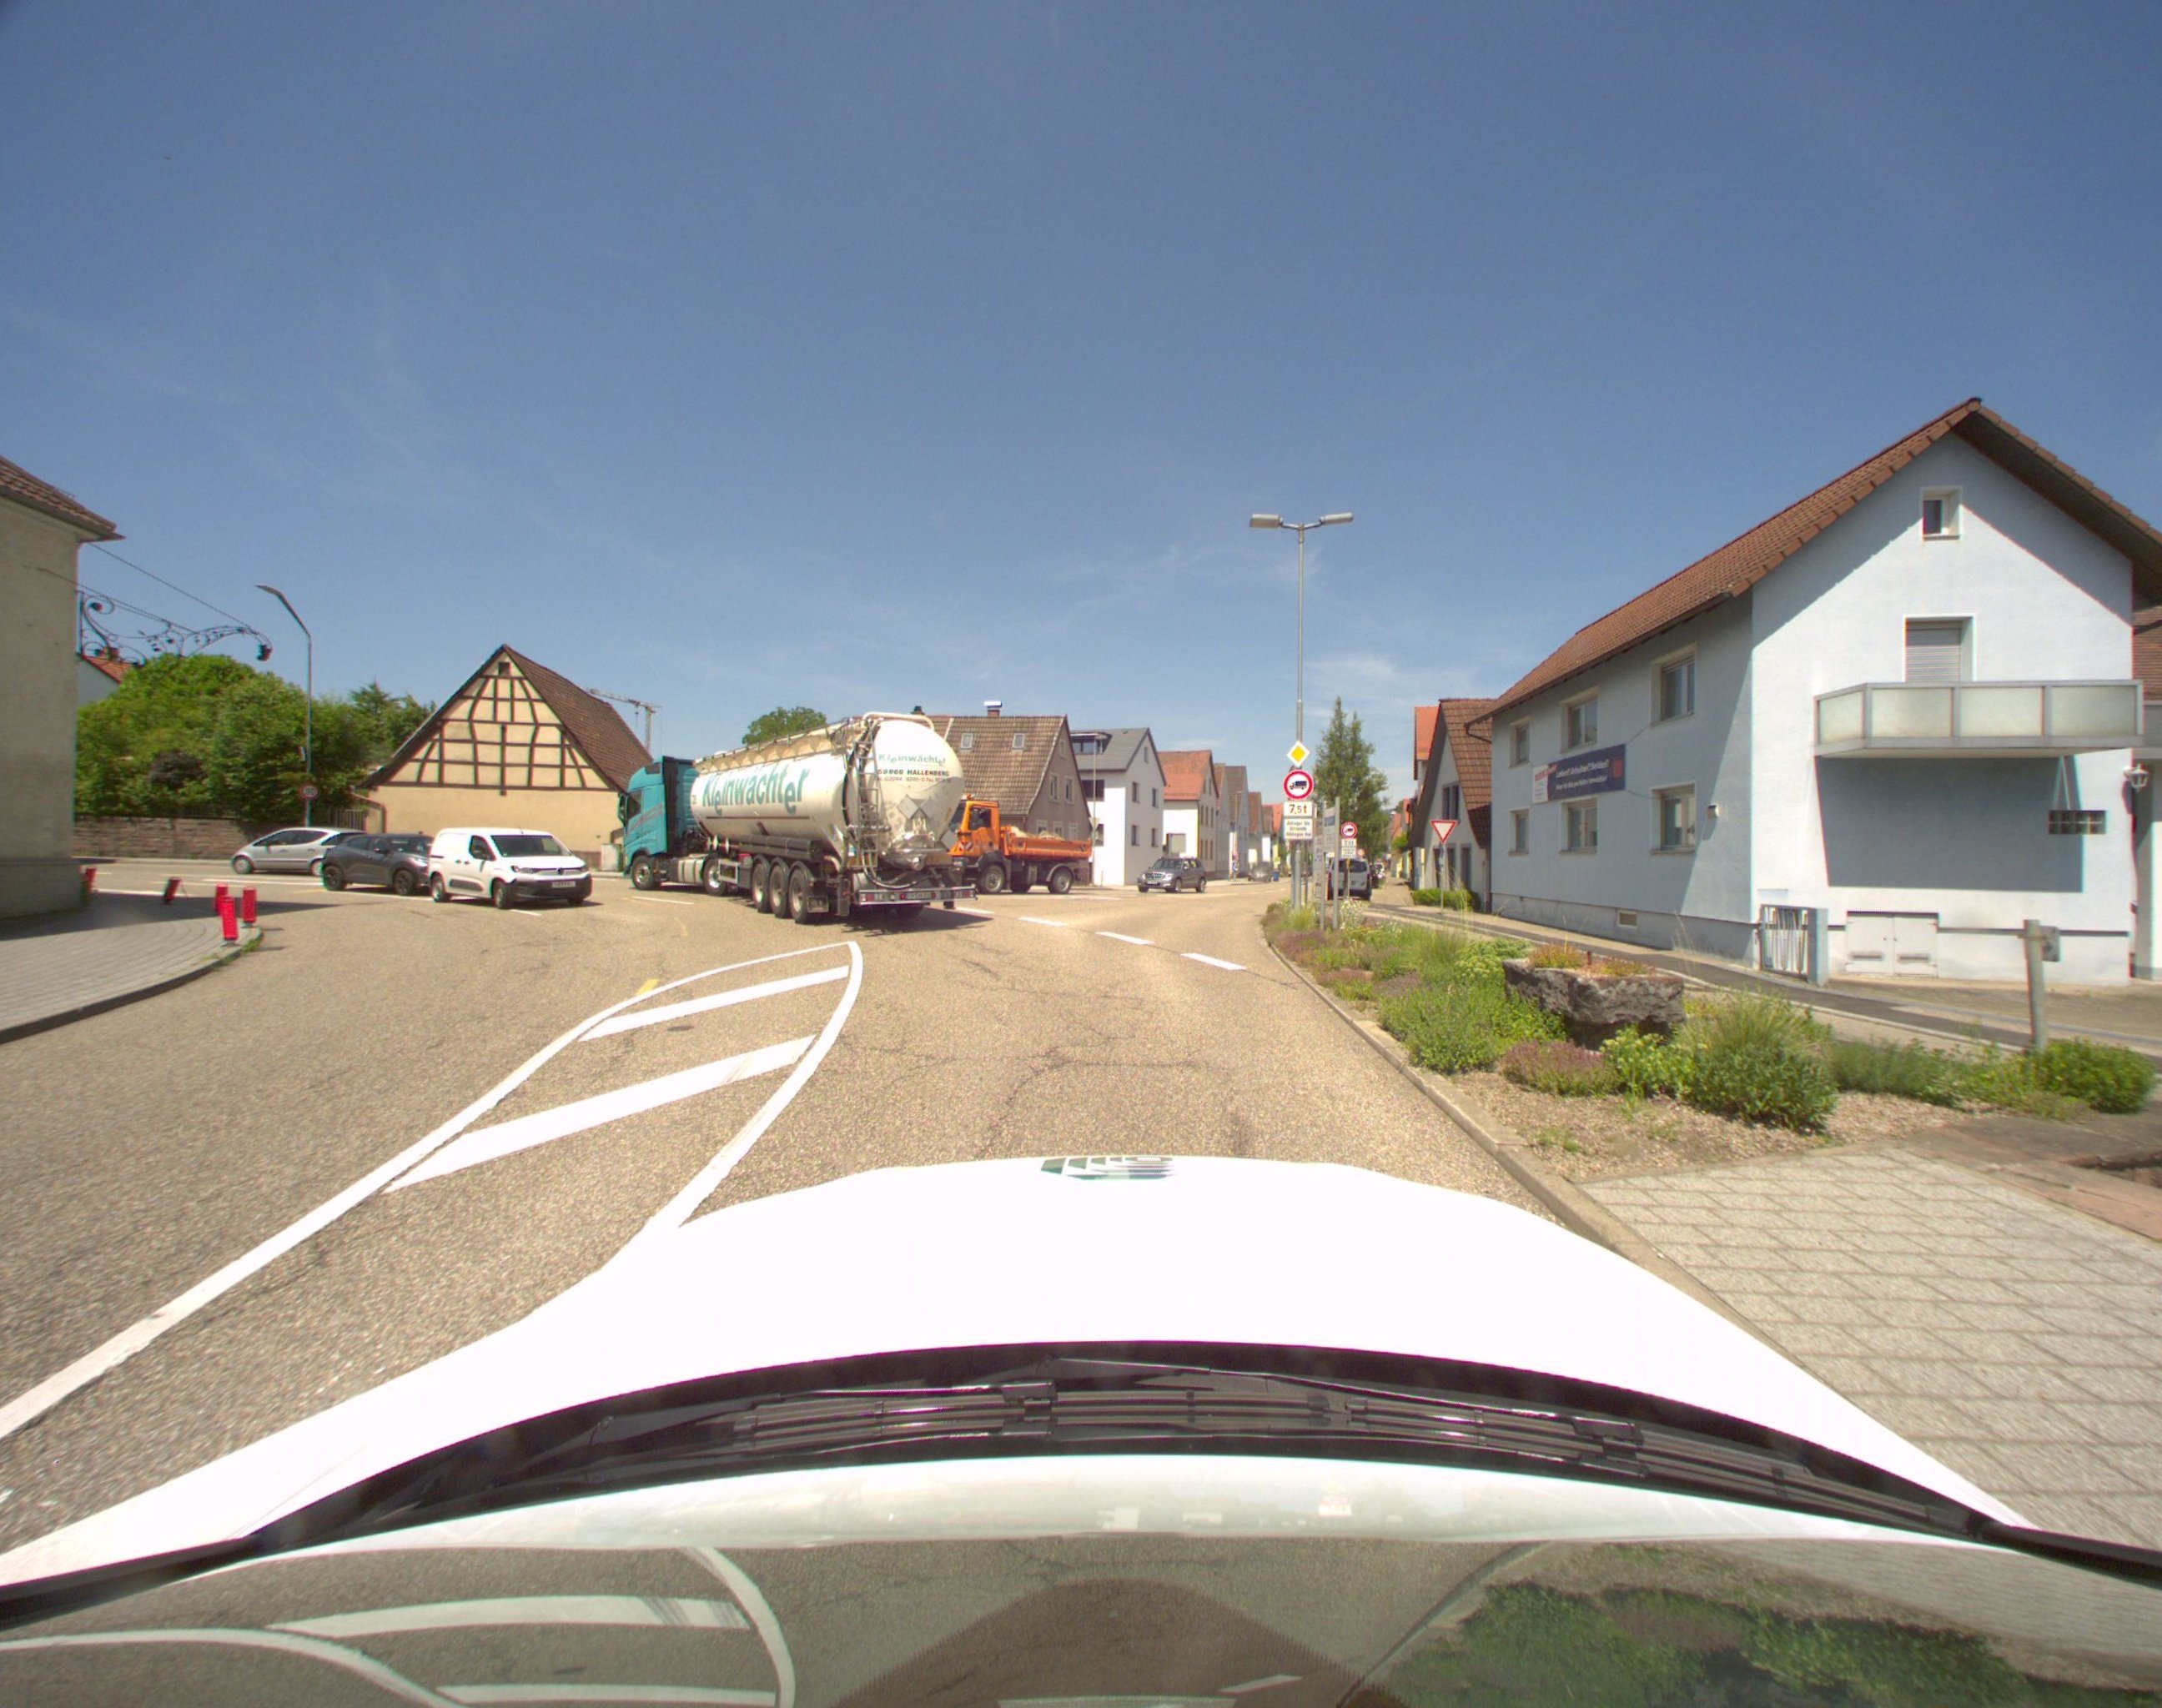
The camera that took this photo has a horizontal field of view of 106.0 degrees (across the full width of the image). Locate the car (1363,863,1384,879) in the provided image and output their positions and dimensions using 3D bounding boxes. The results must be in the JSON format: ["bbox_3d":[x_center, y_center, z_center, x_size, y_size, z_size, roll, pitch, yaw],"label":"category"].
[{"bbox_3d":[31.479,1.842,87.666,1.977,1.585,4.019,2,0,19],"label":"car"}]

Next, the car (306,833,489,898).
[{"bbox_3d":[-18.353,0.274,21.923,3.957,1.524,1.805,2,0,16],"label":"car"}]

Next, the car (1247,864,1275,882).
[{"bbox_3d":[17.522,1.834,79.075,1.702,1.596,4.023,1,0,26],"label":"car"}]

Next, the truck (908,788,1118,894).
[{"bbox_3d":[-2.125,-0.267,28.507,2.636,3.181,7.507,0,-2,41],"label":"truck"}]

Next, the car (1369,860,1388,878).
[{"bbox_3d":[35.949,1.791,98.501,1.977,1.992,4.019,1,0,19],"label":"car"}]

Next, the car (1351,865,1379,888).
[{"bbox_3d":[21.595,1.689,61.985,1.977,1.585,4.019,1,0,19],"label":"car"}]

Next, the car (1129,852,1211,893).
[{"bbox_3d":[4.110,0.857,36.895,1.974,1.675,4.339,1,-1,32],"label":"car"}]

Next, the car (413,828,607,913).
[{"bbox_3d":[-13.636,0.312,19.423,4.465,1.785,1.891,2,1,27],"label":"car"}]

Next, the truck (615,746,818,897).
[{"bbox_3d":[-10.869,-0.887,24.193,5.507,3.965,3.016,1,0,35],"label":"truck"}]

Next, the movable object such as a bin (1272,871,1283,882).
[{"bbox_3d":[20.253,2.307,84.008,0.912,1.049,0.948,1,0,21],"label":"movable object such as a bin"}]

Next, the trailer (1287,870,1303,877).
[{"bbox_3d":[27.980,2.557,106.521,1.938,0.777,2.729,2,0,12],"label":"trailer"}]

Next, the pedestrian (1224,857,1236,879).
[{"bbox_3d":[13.476,1.250,73.558,0.762,2.014,0.982,1,-1,26],"label":"pedestrian"}]

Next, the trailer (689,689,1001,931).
[{"bbox_3d":[-6.155,-0.782,18.788,2.975,3.948,11.490,2,0,-37],"label":"trailer"}]

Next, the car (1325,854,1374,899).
[{"bbox_3d":[12.487,1.084,37.923,1.978,1.912,4.343,1,-2,18],"label":"car"}]

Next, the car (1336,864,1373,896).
[{"bbox_3d":[15.144,1.387,45.000,1.802,1.634,4.228,1,0,20],"label":"car"}]

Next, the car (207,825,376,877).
[{"bbox_3d":[-25.393,-0.074,26.291,3.585,1.585,1.786,1,-1,-2],"label":"car"}]
